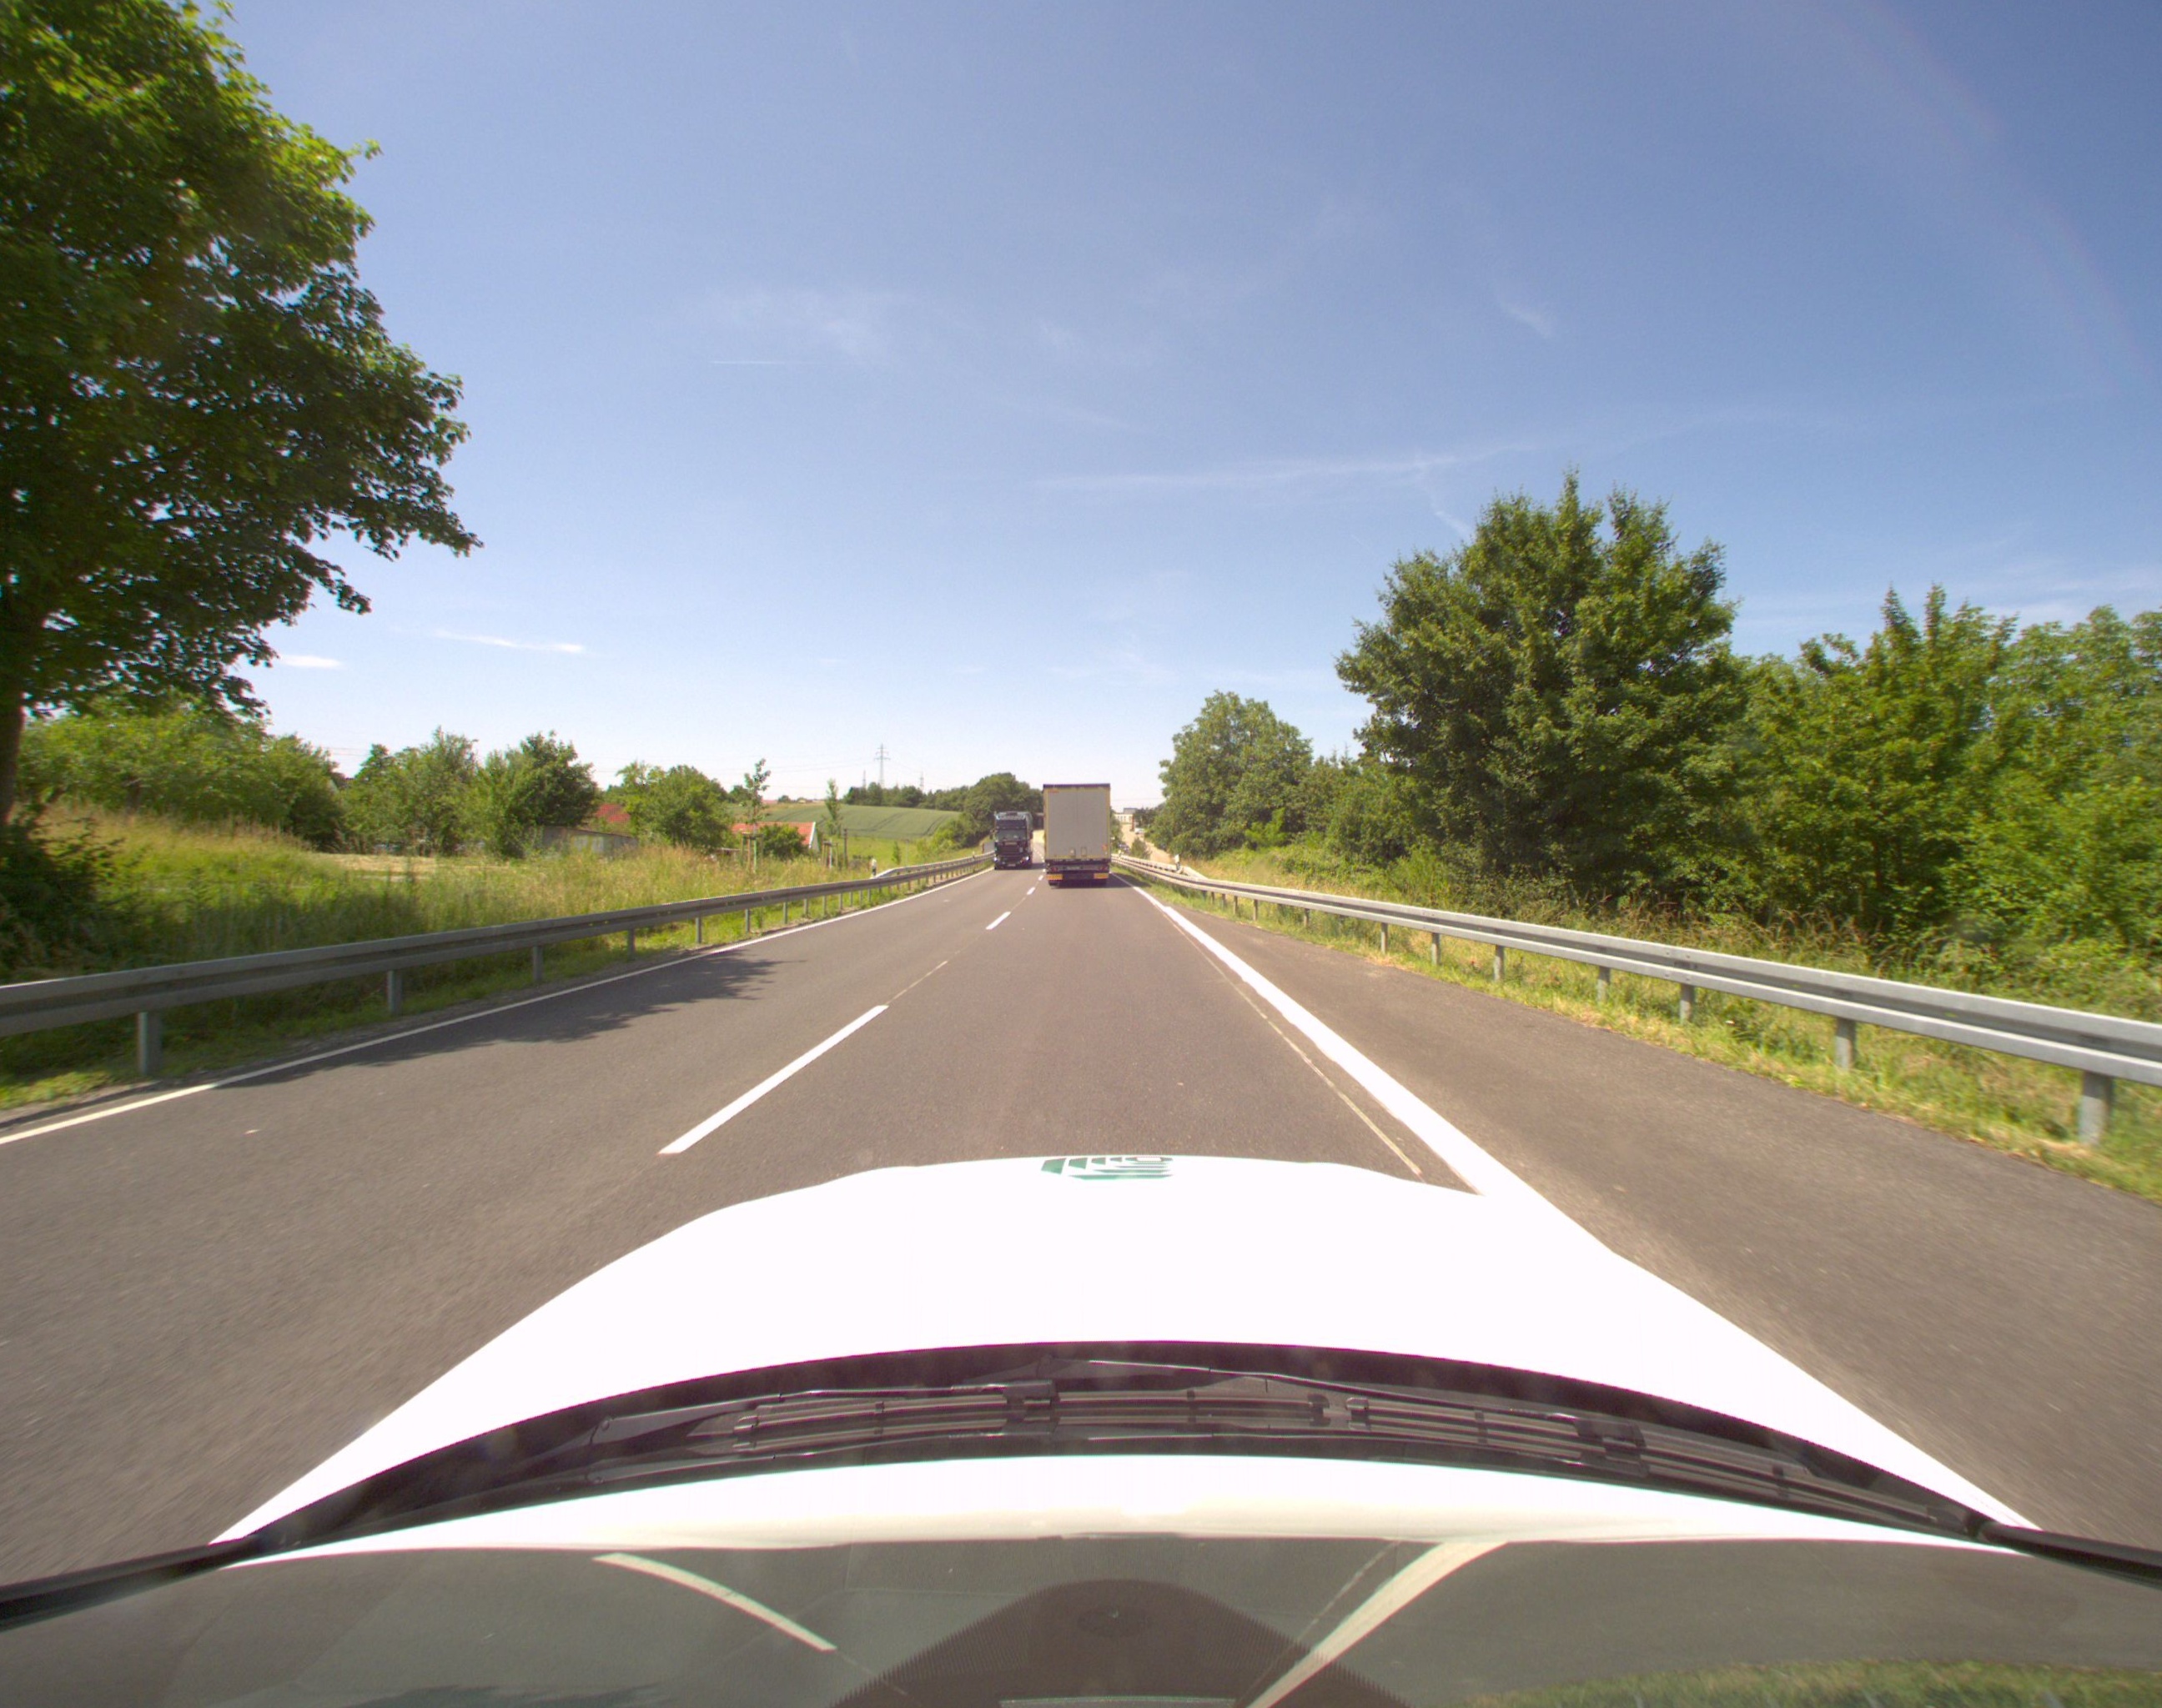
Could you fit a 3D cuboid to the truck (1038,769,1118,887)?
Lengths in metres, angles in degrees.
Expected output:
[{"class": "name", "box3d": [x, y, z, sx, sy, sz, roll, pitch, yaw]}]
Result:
[{"class": "truck", "box3d": [-0.236, -1.026, 35.573, 2.858, 4.359, 9.783, -2, 1, -2]}]

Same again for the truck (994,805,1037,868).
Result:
[{"class": "truck", "box3d": [-4.580, -1.198, 57.941, 2.438, 4.194, 5.648, -2, 1, 0]}]
